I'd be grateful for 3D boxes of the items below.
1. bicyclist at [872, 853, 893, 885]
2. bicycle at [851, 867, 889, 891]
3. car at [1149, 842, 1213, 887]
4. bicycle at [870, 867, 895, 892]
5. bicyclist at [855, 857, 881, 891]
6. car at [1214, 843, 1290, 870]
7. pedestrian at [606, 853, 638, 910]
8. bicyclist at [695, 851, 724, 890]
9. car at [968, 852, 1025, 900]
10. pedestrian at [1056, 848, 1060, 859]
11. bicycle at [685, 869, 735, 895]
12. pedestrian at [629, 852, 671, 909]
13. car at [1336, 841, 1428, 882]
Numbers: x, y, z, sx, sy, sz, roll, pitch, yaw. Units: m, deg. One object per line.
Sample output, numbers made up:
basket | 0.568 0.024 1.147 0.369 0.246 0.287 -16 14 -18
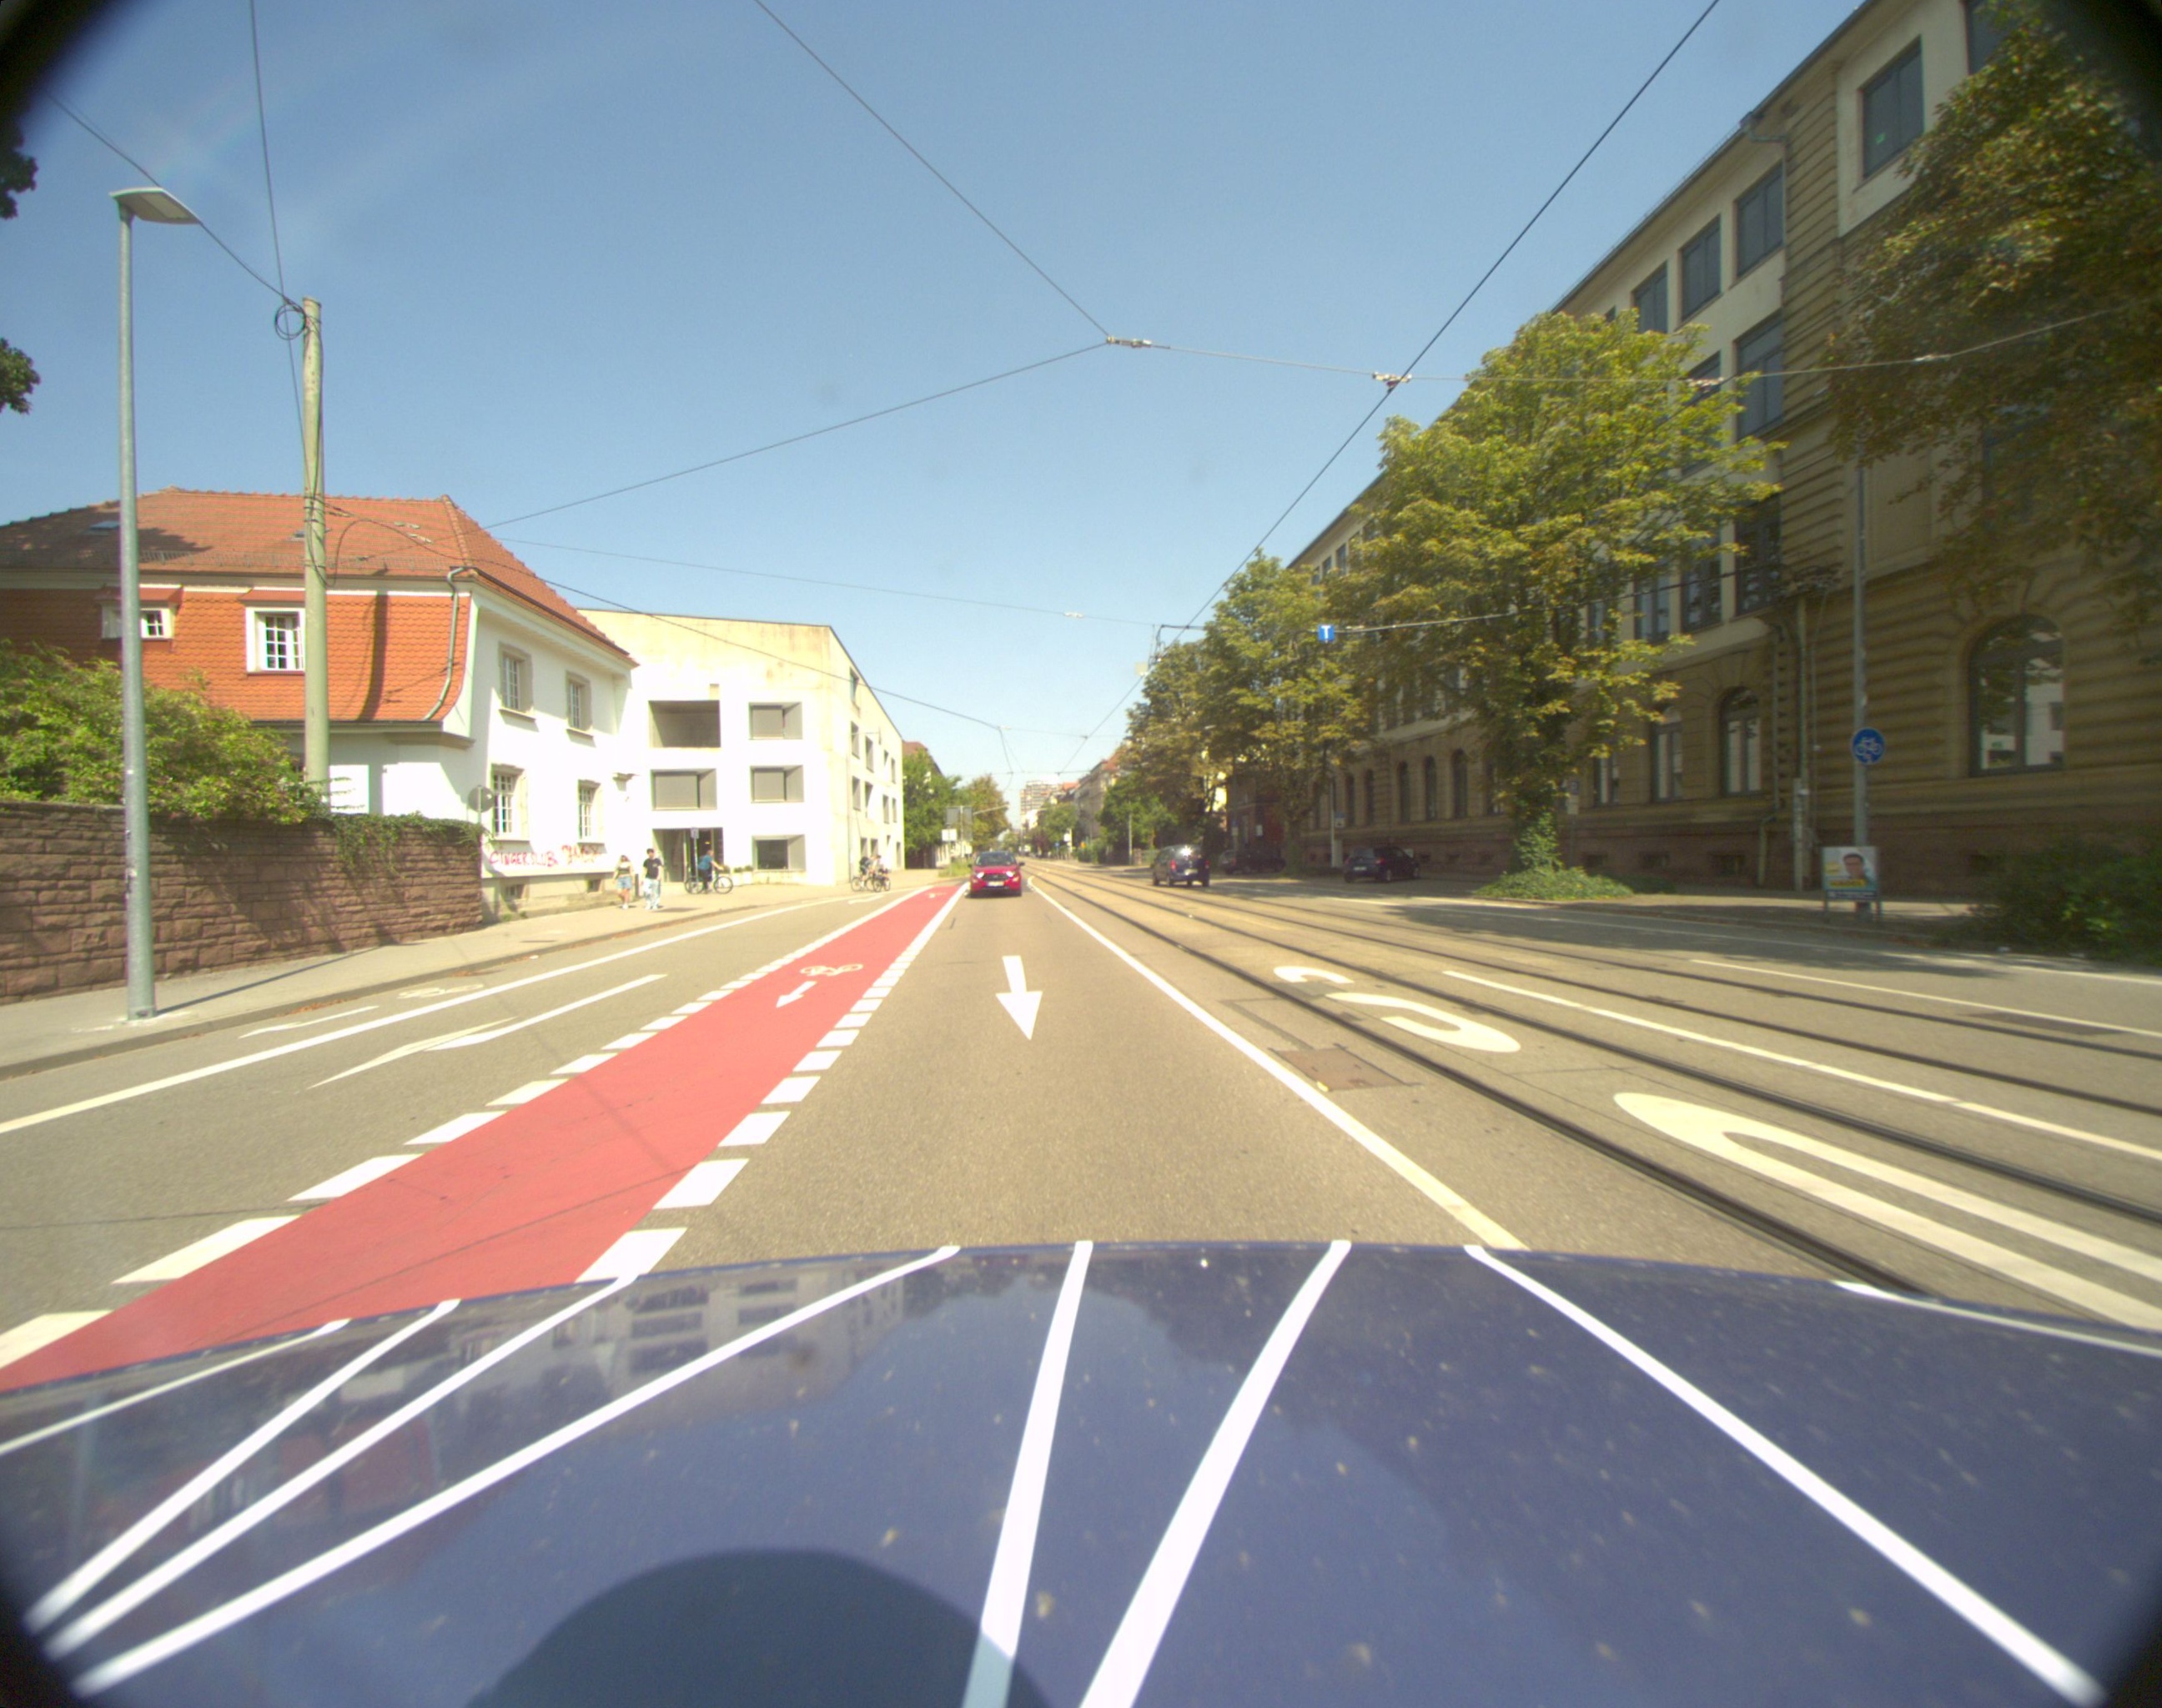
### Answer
bicyclist | -9.062 0.677 34.656 0.747 1.403 0.961 -2 1 -6
bicycle | -10.042 1.173 36.199 0.614 0.994 1.714 -1 3 34
car | 3.951 0.364 30.607 1.696 1.645 3.578 -2 1 -6
bicycle | -9.048 1.159 34.708 0.741 1.043 2.231 -2 0 -6
bicyclist | -10.143 0.942 36.227 0.626 1.589 0.994 2 1 33
car | 10.242 0.127 45.437 4.436 1.453 1.816 -2 1 -33
pedestrian | -13.633 0.808 22.593 0.620 1.656 0.487 -2 1 -7
bicyclist | -15.001 0.666 30.675 0.905 1.530 0.626 1 1 -37
car | -2.949 0.726 27.036 1.816 1.542 4.019 -2 0 -5
pedestrian | -4.579 -0.091 149.545 0.657 2.002 0.973 -1 1 -8
bicycle | -14.974 1.115 30.699 1.714 0.994 0.614 0 0 -36
pedestrian | -12.856 0.779 22.692 0.729 1.656 0.879 -2 1 -4
car | 12.142 0.279 30.538 4.172 1.487 1.816 -2 0 -44
